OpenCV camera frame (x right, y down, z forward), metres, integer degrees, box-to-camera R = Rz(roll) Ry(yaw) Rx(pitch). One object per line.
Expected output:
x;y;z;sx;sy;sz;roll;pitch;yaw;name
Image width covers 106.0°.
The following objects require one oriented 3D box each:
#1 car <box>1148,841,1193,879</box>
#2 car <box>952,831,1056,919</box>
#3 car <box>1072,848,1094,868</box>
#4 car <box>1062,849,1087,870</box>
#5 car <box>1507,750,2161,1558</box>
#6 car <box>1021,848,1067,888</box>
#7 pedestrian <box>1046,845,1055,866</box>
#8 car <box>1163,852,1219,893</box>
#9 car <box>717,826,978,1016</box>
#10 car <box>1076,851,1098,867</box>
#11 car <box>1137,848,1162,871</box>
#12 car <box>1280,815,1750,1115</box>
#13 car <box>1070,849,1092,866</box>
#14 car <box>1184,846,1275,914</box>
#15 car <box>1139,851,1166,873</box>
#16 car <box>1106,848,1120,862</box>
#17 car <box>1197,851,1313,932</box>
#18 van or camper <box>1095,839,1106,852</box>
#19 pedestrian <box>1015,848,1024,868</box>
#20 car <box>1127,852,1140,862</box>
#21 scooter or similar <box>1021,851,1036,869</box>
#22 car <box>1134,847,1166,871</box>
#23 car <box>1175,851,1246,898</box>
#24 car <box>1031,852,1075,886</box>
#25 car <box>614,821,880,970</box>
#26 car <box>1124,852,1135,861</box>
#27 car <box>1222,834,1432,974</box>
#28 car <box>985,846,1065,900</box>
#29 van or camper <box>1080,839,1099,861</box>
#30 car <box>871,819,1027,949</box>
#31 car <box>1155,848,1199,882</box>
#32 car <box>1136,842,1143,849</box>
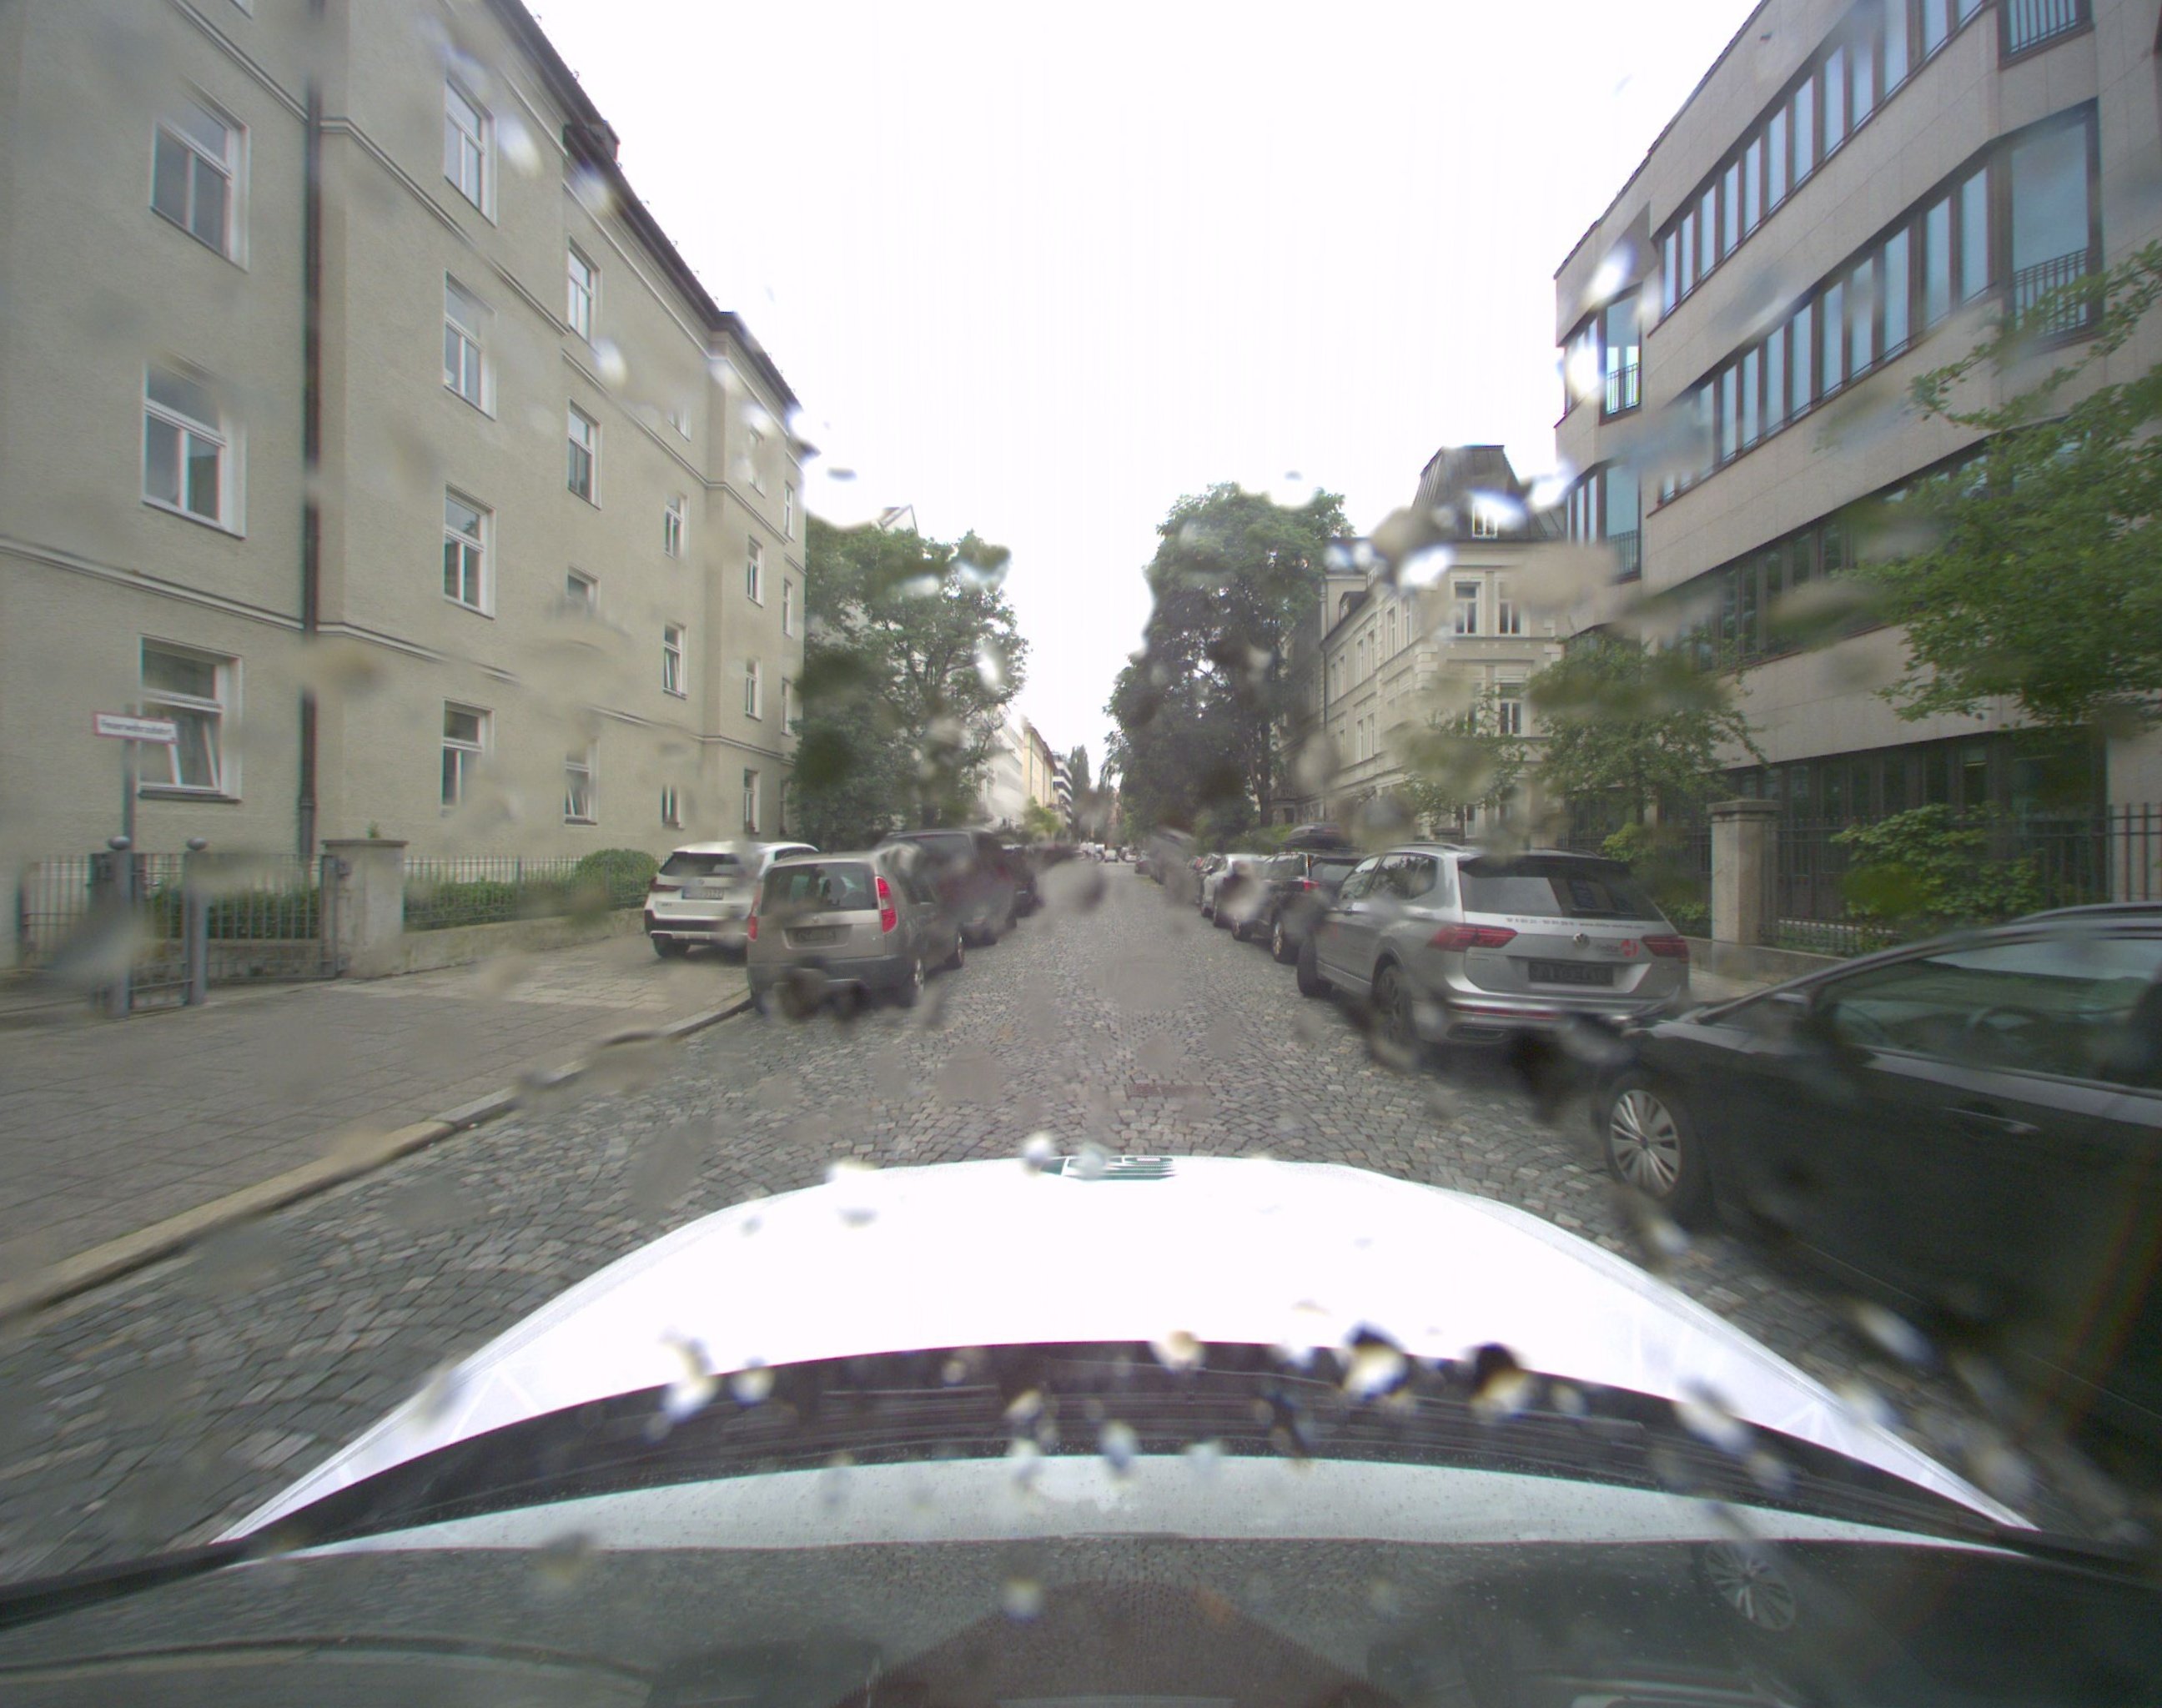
4.970;0.306;45.852;1.867;1.928;5.164;3;0;0;car
-1.836;0.481;21.230;1.986;1.917;5.179;-3;0;1;car
0.223;0.348;78.328;1.866;1.776;4.123;-3;0;1;car
-0.491;0.451;65.933;1.867;1.580;4.255;-2;0;0;car
3.304;0.699;2.196;1.866;1.735;4.660;4;0;1;car
-1.378;0.514;31.905;1.657;1.444;4.170;-1;0;-1;car
-2.815;0.140;75.080;0.789;1.917;0.759;2;0;2;pedestrian
4.418;0.705;33.277;1.707;1.472;4.270;3;0;1;car
-2.491;0.622;9.928;1.859;1.735;4.403;-2;0;0;car
0.648;0.486;83.789;1.864;1.580;4.214;3;0;5;car
5.827;0.455;69.700;1.866;1.733;4.595;3;0;2;car
3.227;0.668;7.395;1.865;1.735;4.896;2;0;4;car
0.002;0.311;72.050;1.867;1.451;4.208;-1;0;0;car
4.111;0.662;23.275;1.866;1.669;4.660;3;0;2;car
5.528;0.583;63.297;1.811;1.580;4.209;4;0;2;car
4.631;0.155;119.015;1.985;2.013;4.003;1;0;3;car
3.736;0.724;18.303;1.865;1.490;4.622;3;1;4;car
4.394;-1.842;183.285;2.247;2.742;5.101;1;0;2;van or camper
-5.203;0.343;68.985;0.715;1.687;0.695;1;0;1;pedestrian
7.716;0.443;119.697;1.782;1.520;4.003;1;0;3;car
-4.389;0.489;68.454;0.937;1.441;2.658;0;0;2;scooter or similar
4.902;0.332;58.087;1.867;1.503;4.511;3;0;0;car
4.507;0.678;28.881;1.689;1.440;4.058;3;0;-2;car
-1.298;0.664;39.100;1.777;1.417;4.498;-3;0;1;car
-4.721;0.504;12.428;1.938;1.735;4.659;3;0;1;car
8.368;0.374;140.216;1.782;1.520;4.003;1;0;3;car
3.671;0.658;13.167;1.867;1.735;4.747;4;0;0;car
-1.719;0.569;26.882;1.970;1.561;5.021;-1;0;3;car
1.028;-0.479;98.740;1.985;2.652;4.003;-2;0;3;van or camper
-2.177;0.450;14.825;1.866;1.917;4.829;-2;0;1;car
4.712;0.508;40.379;1.829;1.490;4.425;3;0;3;car
15.942;-2.323;222.441;1.985;2.014;4.003;1;0;3;car
